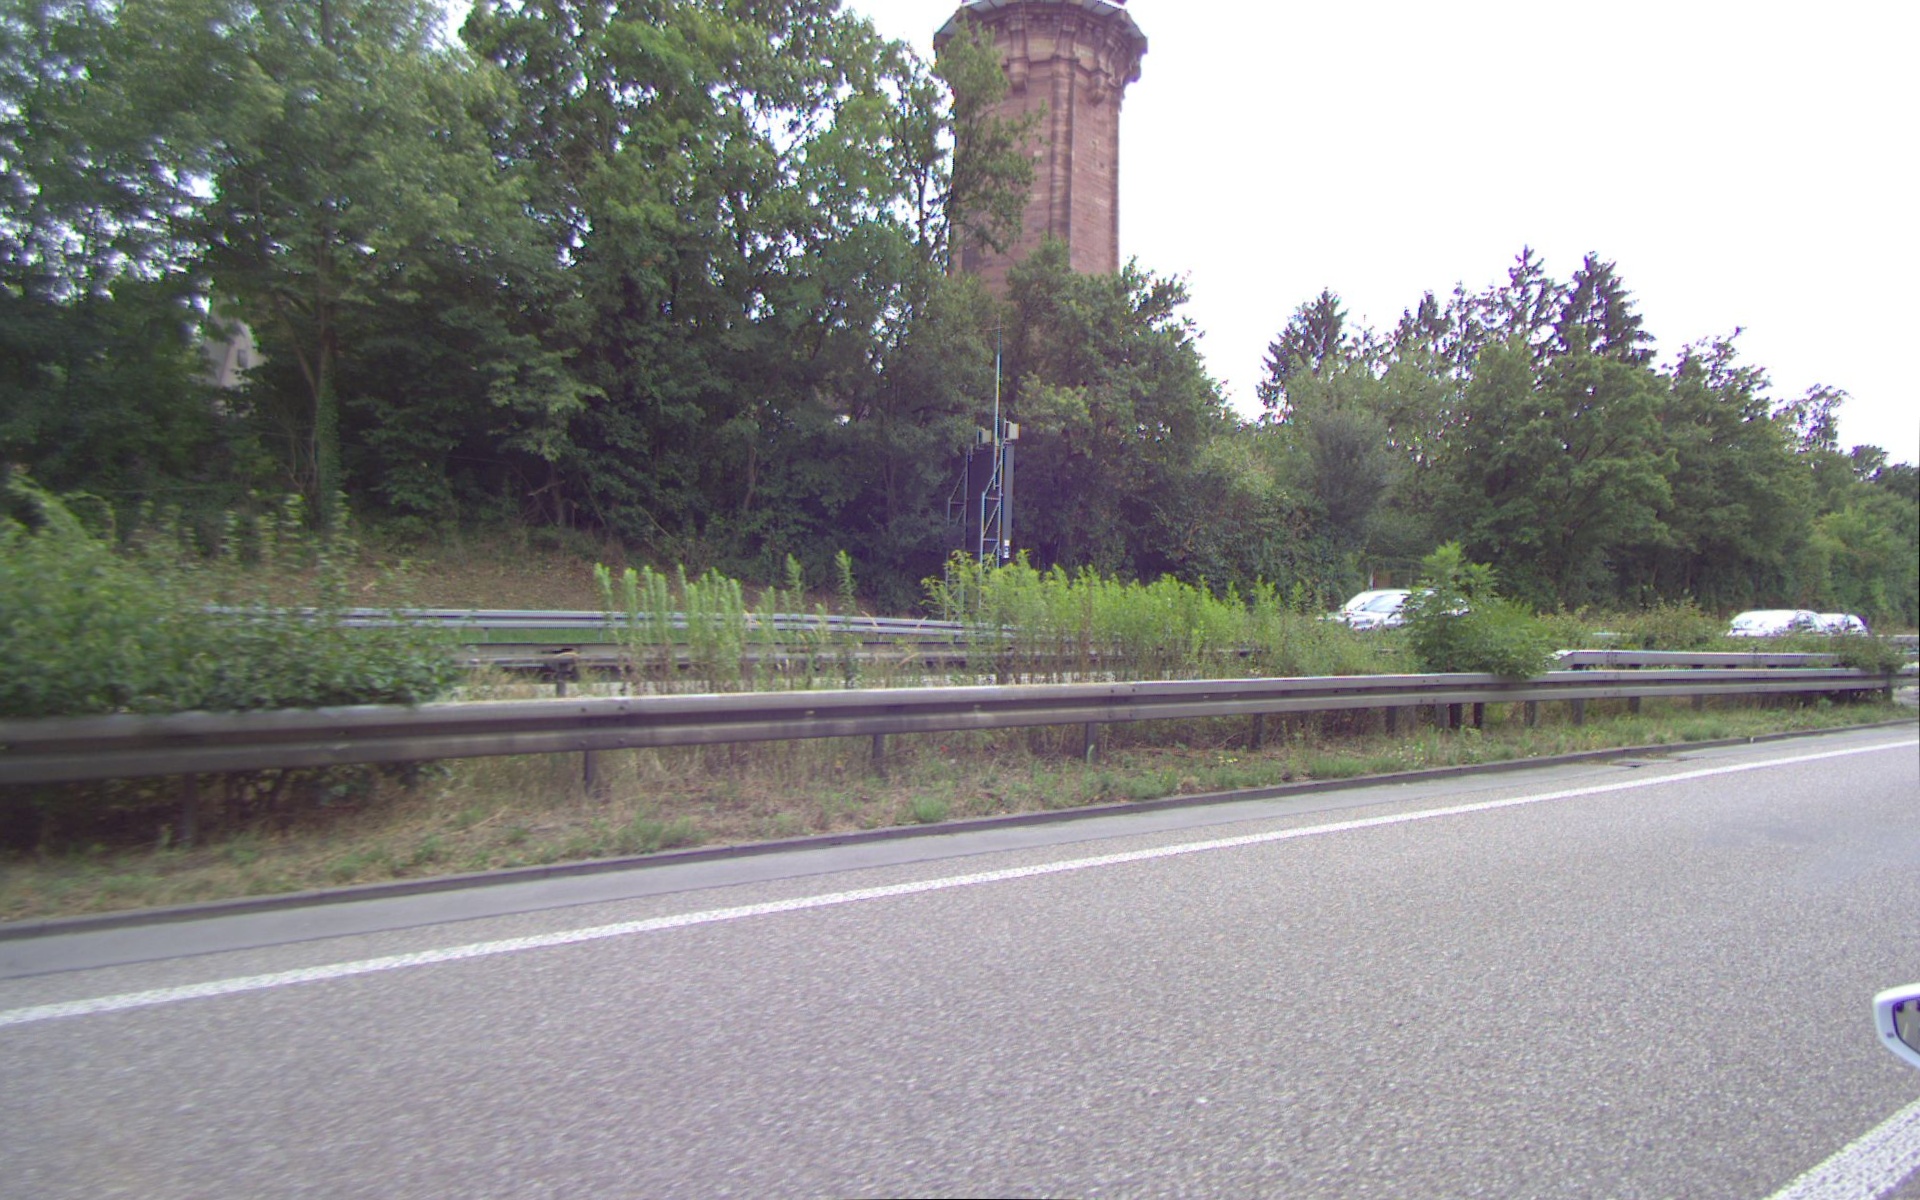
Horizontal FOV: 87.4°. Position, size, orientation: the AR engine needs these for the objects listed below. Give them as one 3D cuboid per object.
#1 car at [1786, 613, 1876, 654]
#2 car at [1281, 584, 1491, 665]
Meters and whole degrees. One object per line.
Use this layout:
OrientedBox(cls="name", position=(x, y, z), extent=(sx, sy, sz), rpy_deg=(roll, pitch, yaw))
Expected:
OrientedBox(cls="car", position=(34.087, 1.310, 39.279), extent=(3.686, 1.528, 1.620), rpy_deg=(2, -1, -32))
OrientedBox(cls="car", position=(9.697, 0.571, 22.790), extent=(4.718, 1.679, 1.984), rpy_deg=(2, -1, -31))
